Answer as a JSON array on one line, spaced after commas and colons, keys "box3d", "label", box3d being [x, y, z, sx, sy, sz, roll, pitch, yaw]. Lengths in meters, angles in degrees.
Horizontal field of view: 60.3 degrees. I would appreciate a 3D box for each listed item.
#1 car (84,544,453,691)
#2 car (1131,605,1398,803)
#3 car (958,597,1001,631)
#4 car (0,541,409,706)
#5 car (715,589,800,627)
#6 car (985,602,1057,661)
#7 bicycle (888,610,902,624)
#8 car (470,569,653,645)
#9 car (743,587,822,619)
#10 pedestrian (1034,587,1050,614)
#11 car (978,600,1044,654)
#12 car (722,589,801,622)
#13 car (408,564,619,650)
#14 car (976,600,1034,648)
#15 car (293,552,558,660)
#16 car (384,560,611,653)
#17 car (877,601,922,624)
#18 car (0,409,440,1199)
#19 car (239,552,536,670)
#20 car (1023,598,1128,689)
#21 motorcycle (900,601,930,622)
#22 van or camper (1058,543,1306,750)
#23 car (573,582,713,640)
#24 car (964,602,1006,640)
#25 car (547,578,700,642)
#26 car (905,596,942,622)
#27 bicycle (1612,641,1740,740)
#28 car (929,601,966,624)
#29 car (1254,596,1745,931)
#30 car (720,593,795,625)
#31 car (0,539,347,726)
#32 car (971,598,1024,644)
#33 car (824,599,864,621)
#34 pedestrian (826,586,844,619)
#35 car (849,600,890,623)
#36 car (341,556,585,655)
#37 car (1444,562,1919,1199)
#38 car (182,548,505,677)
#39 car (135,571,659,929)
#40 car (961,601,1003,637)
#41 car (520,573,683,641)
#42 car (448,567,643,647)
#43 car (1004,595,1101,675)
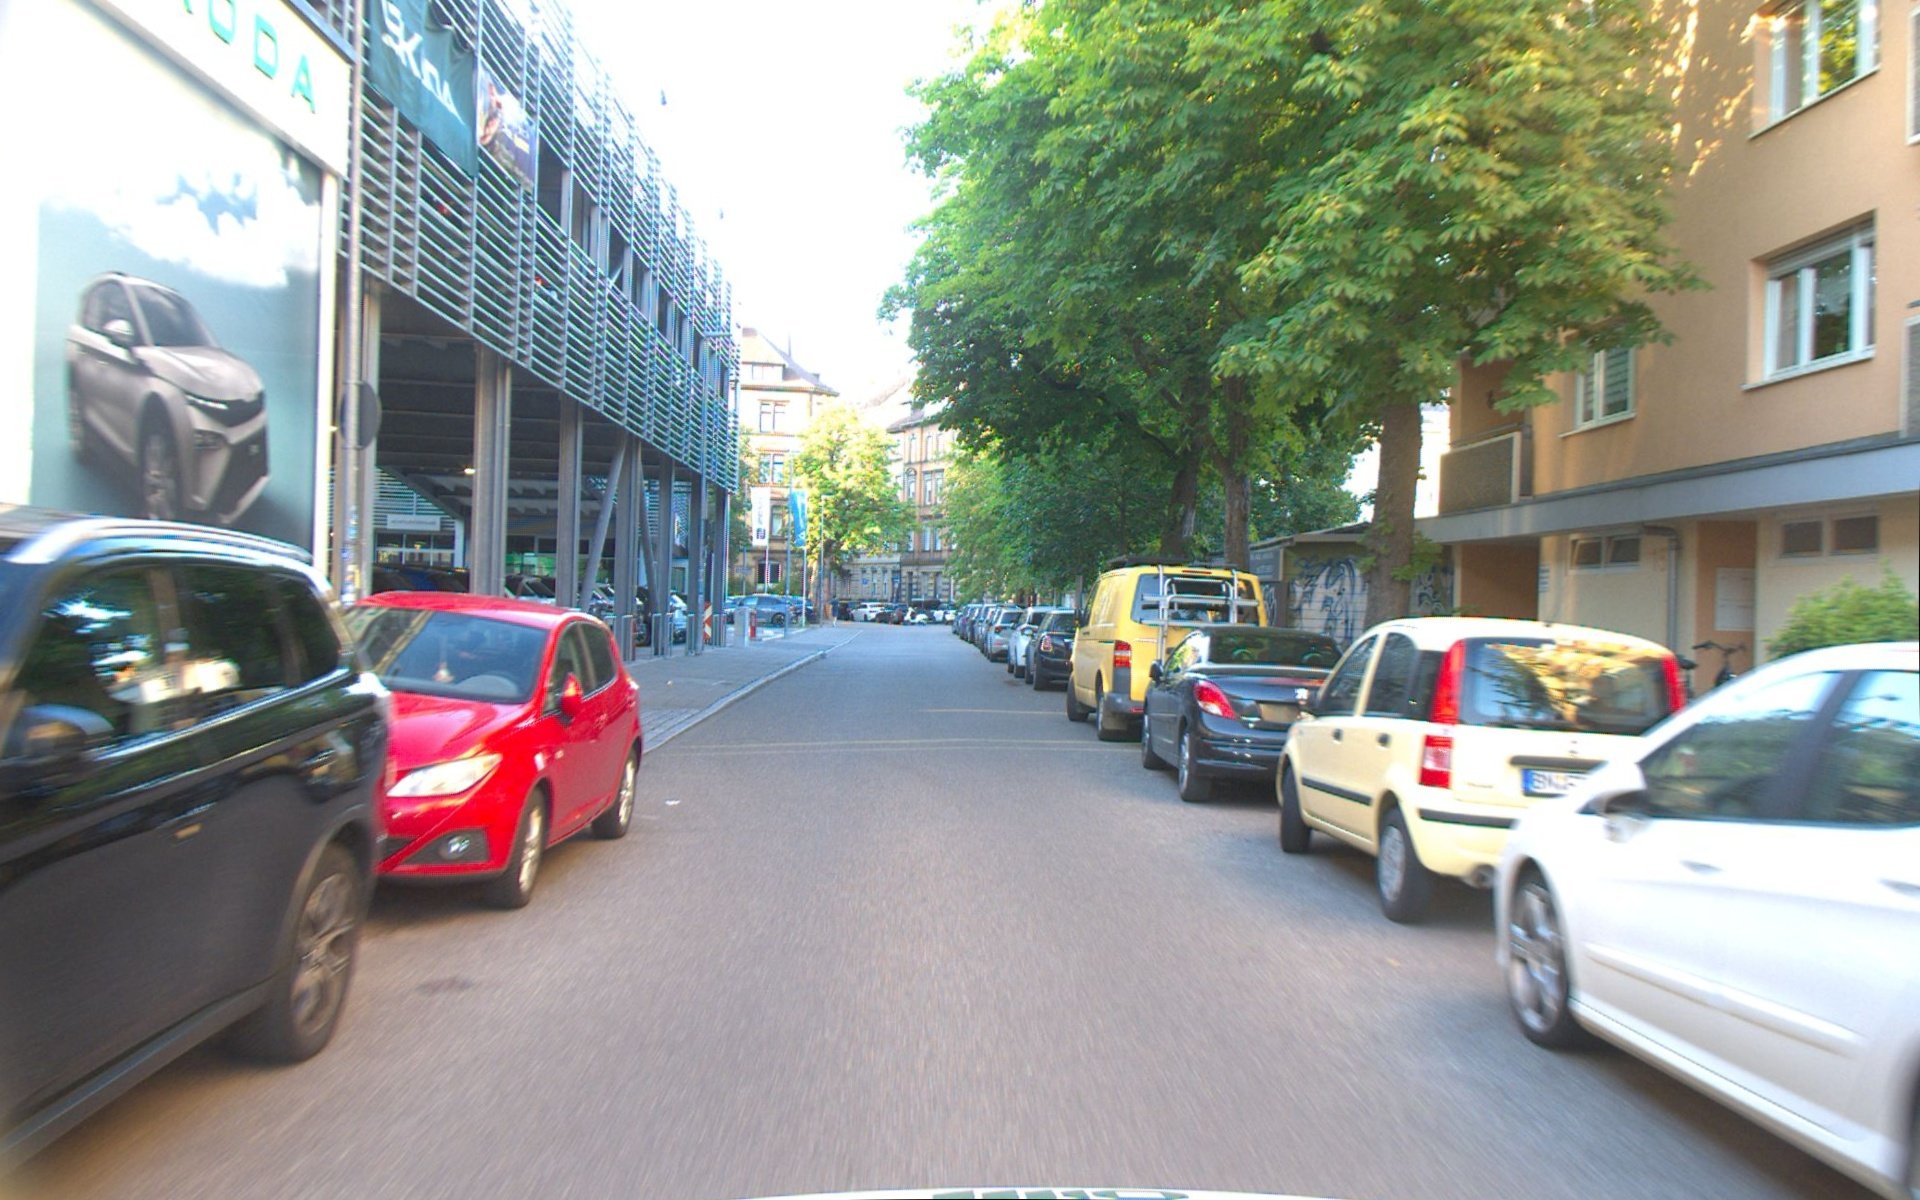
[{"box3d": [-8.842, 0.206, 21.401, 3.953, 1.713, 1.860, 1, 1, -1], "label": "car"}, {"box3d": [2.531, 0.799, 14.608, 1.574, 1.406, 4.000, 1, 1, 0], "label": "car"}, {"box3d": [0.879, 0.647, 78.374, 1.662, 1.502, 3.556, 1, 0, -5], "label": "car"}, {"box3d": [-8.722, 0.243, 19.048, 4.081, 1.713, 1.860, 1, 1, -1], "label": "car"}, {"box3d": [-10.231, 0.411, 83.695, 4.048, 1.646, 1.912, 3, 1, -4], "label": "car"}, {"box3d": [1.651, 0.851, 45.967, 1.724, 1.467, 4.004, 1, 1, -2], "label": "car"}, {"box3d": [-4.290, 1.112, 108.804, 0.416, 0.836, 1.462, 1, 1, 20], "label": "bicycle"}, {"box3d": [-9.692, 0.151, 40.408, 3.981, 1.713, 1.860, 1, 1, -1], "label": "car"}, {"box3d": [-11.022, 0.177, 102.624, 4.738, 1.762, 1.917, 2, 1, -8], "label": "car"}, {"box3d": [5.645, 0.037, 114.089, 0.829, 1.835, 0.770, 1, 1, -22], "label": "pedestrian"}, {"box3d": [1.530, 0.785, 50.901, 1.724, 1.480, 4.391, 1, 1, -2], "label": "car"}, {"box3d": [-10.441, 0.282, 87.161, 3.986, 1.646, 1.764, 1, 1, -4], "label": "car"}, {"box3d": [-9.594, 0.127, 35.771, 4.019, 1.713, 1.860, 1, 1, -1], "label": "car"}, {"box3d": [1.511, 0.798, 56.840, 1.724, 1.467, 3.872, 1, 1, -2], "label": "car"}, {"box3d": [-9.185, 0.092, 28.639, 3.944, 1.713, 1.860, 1, 1, -1], "label": "car"}, {"box3d": [-9.268, 0.116, 33.401, 4.019, 1.713, 1.860, 1, 1, -1], "label": "car"}, {"box3d": [-4.198, 0.851, 114.286, 1.634, 1.456, 3.959, 2, 1, -25], "label": "car"}, {"box3d": [-2.689, 0.508, 3.854, 1.663, 1.787, 4.401, 1, 0, -2], "label": "car"}, {"box3d": [-9.066, 0.158, 26.444, 4.065, 1.713, 1.860, 1, 1, -1], "label": "car"}, {"box3d": [2.060, 0.750, 30.241, 1.531, 1.475, 3.452, 1, 1, -2], "label": "car"}, {"box3d": [-3.017, 0.753, 110.960, 1.898, 1.364, 0.575, 1, 1, -12], "label": "motorcycle"}, {"box3d": [2.490, 0.452, 19.935, 2.023, 2.132, 5.088, 1, 1, -3], "label": "van or camper"}, {"box3d": [-9.571, 0.345, 50.179, 3.908, 1.614, 1.858, 1, -2, -4], "label": "car"}, {"box3d": [1.030, 0.873, 69.191, 1.564, 1.502, 3.772, 1, 0, -2], "label": "car"}, {"box3d": [-9.658, 0.260, 47.681, 3.997, 1.713, 1.860, 1, 1, -1], "label": "car"}, {"box3d": [-2.729, 0.664, 122.804, 1.654, 1.813, 2.990, 2, 0, -26], "label": "car"}, {"box3d": [7.748, 0.961, 17.971, 0.513, 0.937, 1.834, 1, 1, -2], "label": "bicycle"}, {"box3d": [-0.897, 0.921, 119.361, 1.654, 1.552, 2.744, 2, 0, -26], "label": "car"}, {"box3d": [2.864, 0.774, 9.552, 1.577, 1.537, 3.476, 1, 0, -2], "label": "car"}, {"box3d": [-11.122, 0.488, 91.141, 3.967, 1.501, 1.918, 3, 1, -6], "label": "car"}, {"box3d": [-8.526, 0.282, 16.680, 3.960, 1.713, 1.860, 1, 1, -1], "label": "car"}, {"box3d": [1.378, 0.759, 61.597, 1.724, 1.632, 3.872, 1, 0, -2], "label": "car"}, {"box3d": [-8.627, 0.760, 122.951, 1.634, 1.456, 3.865, 2, 1, -26], "label": "car"}, {"box3d": [-7.163, 0.122, 94.701, 0.725, 1.835, 1.114, 1, 1, -22], "label": "pedestrian"}, {"box3d": [-6.523, 0.793, 118.734, 1.633, 1.456, 4.137, 2, 1, -24], "label": "car"}, {"box3d": [-9.300, 0.097, 31.167, 4.000, 1.713, 1.860, 1, 1, -1], "label": "car"}, {"box3d": [2.898, 0.725, 4.561, 1.755, 1.590, 4.192, 1, 0, -2], "label": "car"}, {"box3d": [-8.872, 0.167, 24.040, 3.953, 1.713, 1.860, 1, 1, -1], "label": "car"}, {"box3d": [-2.796, 0.676, 9.116, 1.663, 1.532, 3.789, 1, -1, -2], "label": "car"}, {"box3d": [0.955, 0.826, 73.561, 1.661, 1.502, 4.115, 1, 0, -2], "label": "car"}, {"box3d": [-9.723, 0.168, 45.090, 4.004, 1.713, 1.860, 1, 1, -1], "label": "car"}, {"box3d": [-9.531, 0.153, 38.268, 4.019, 1.713, 1.860, 1, 1, -1], "label": "car"}, {"box3d": [1.931, 0.703, 35.565, 1.687, 1.546, 4.024, 1, 1, -2], "label": "car"}]
